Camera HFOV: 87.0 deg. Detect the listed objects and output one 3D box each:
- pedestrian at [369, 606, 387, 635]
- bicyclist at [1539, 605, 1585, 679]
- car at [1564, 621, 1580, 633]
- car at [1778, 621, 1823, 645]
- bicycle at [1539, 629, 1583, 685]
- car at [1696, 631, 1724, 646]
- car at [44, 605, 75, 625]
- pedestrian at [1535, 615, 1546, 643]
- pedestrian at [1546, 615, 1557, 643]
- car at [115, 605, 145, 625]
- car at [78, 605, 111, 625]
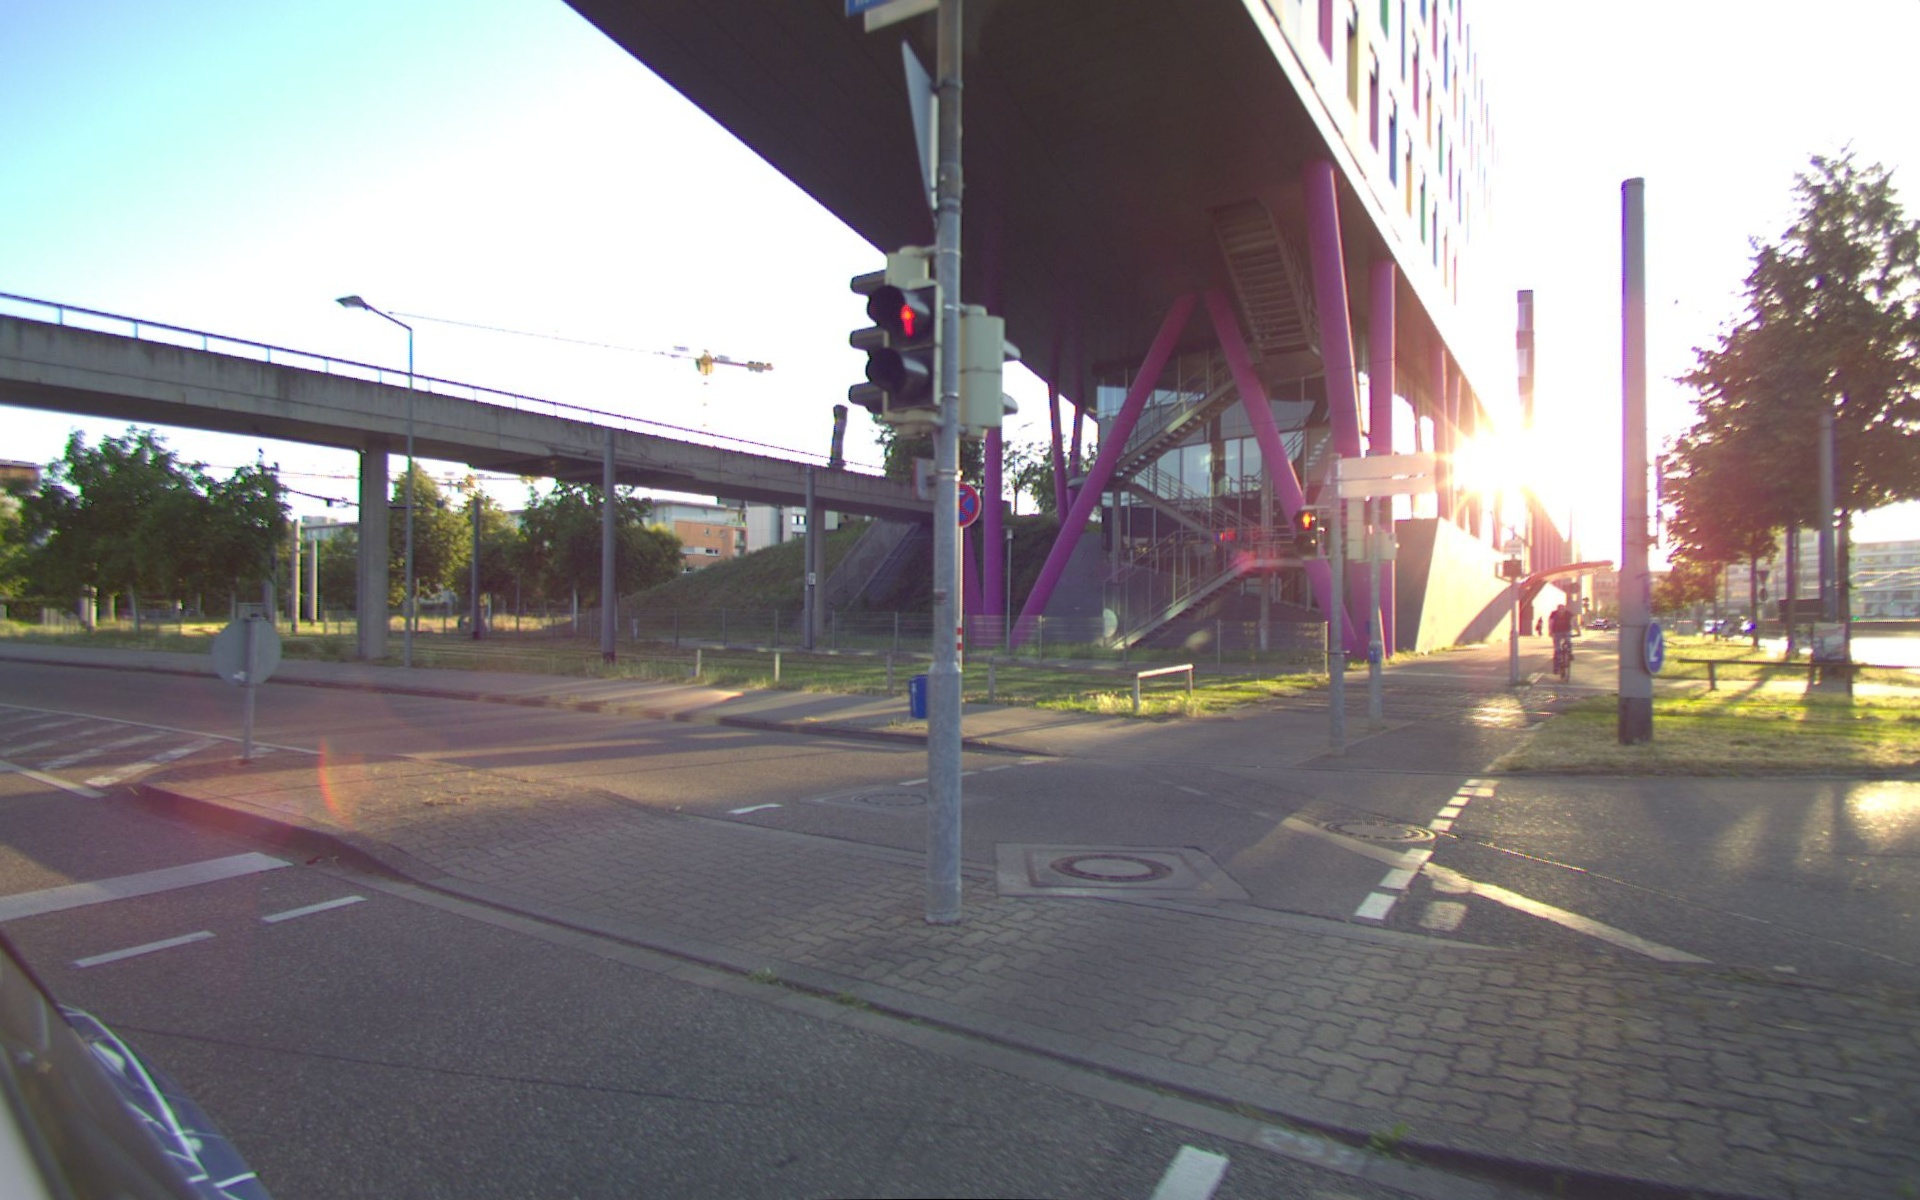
[{"bbox_3d":[-32.805,1.154,57.029,0.768,1.623,0.417,2,-2,-44],"label":"pedestrian"},{"bbox_3d":[13.862,0.942,23.286,0.806,1.645,1.272,0,-1,35],"label":"bicyclist"},{"bbox_3d":[79.585,3.497,131.575,1.714,1.510,3.955,0,-1,33],"label":"car"},{"bbox_3d":[62.662,2.463,75.533,1.993,1.719,3.957,0,-1,31],"label":"car"},{"bbox_3d":[13.769,1.270,23.177,0.741,1.216,2.086,0,-1,34],"label":"bicycle"},{"bbox_3d":[77.218,3.943,104.229,1.993,1.431,3.957,0,-1,31],"label":"car"},{"bbox_3d":[-79.364,1.292,89.163,1.844,1.734,3.848,2,-1,-44],"label":"car"},{"bbox_3d":[43.105,2.139,75.117,0.617,2.029,0.803,1,-1,33],"label":"pedestrian"},{"bbox_3d":[43.719,2.148,74.807,0.617,2.029,0.803,1,-1,33],"label":"pedestrian"},{"bbox_3d":[-76.147,1.371,92.833,1.844,1.734,3.848,2,-1,-44],"label":"car"},{"bbox_3d":[-77.750,1.328,90.919,3.846,1.734,1.845,0,-1,44],"label":"car"}]
